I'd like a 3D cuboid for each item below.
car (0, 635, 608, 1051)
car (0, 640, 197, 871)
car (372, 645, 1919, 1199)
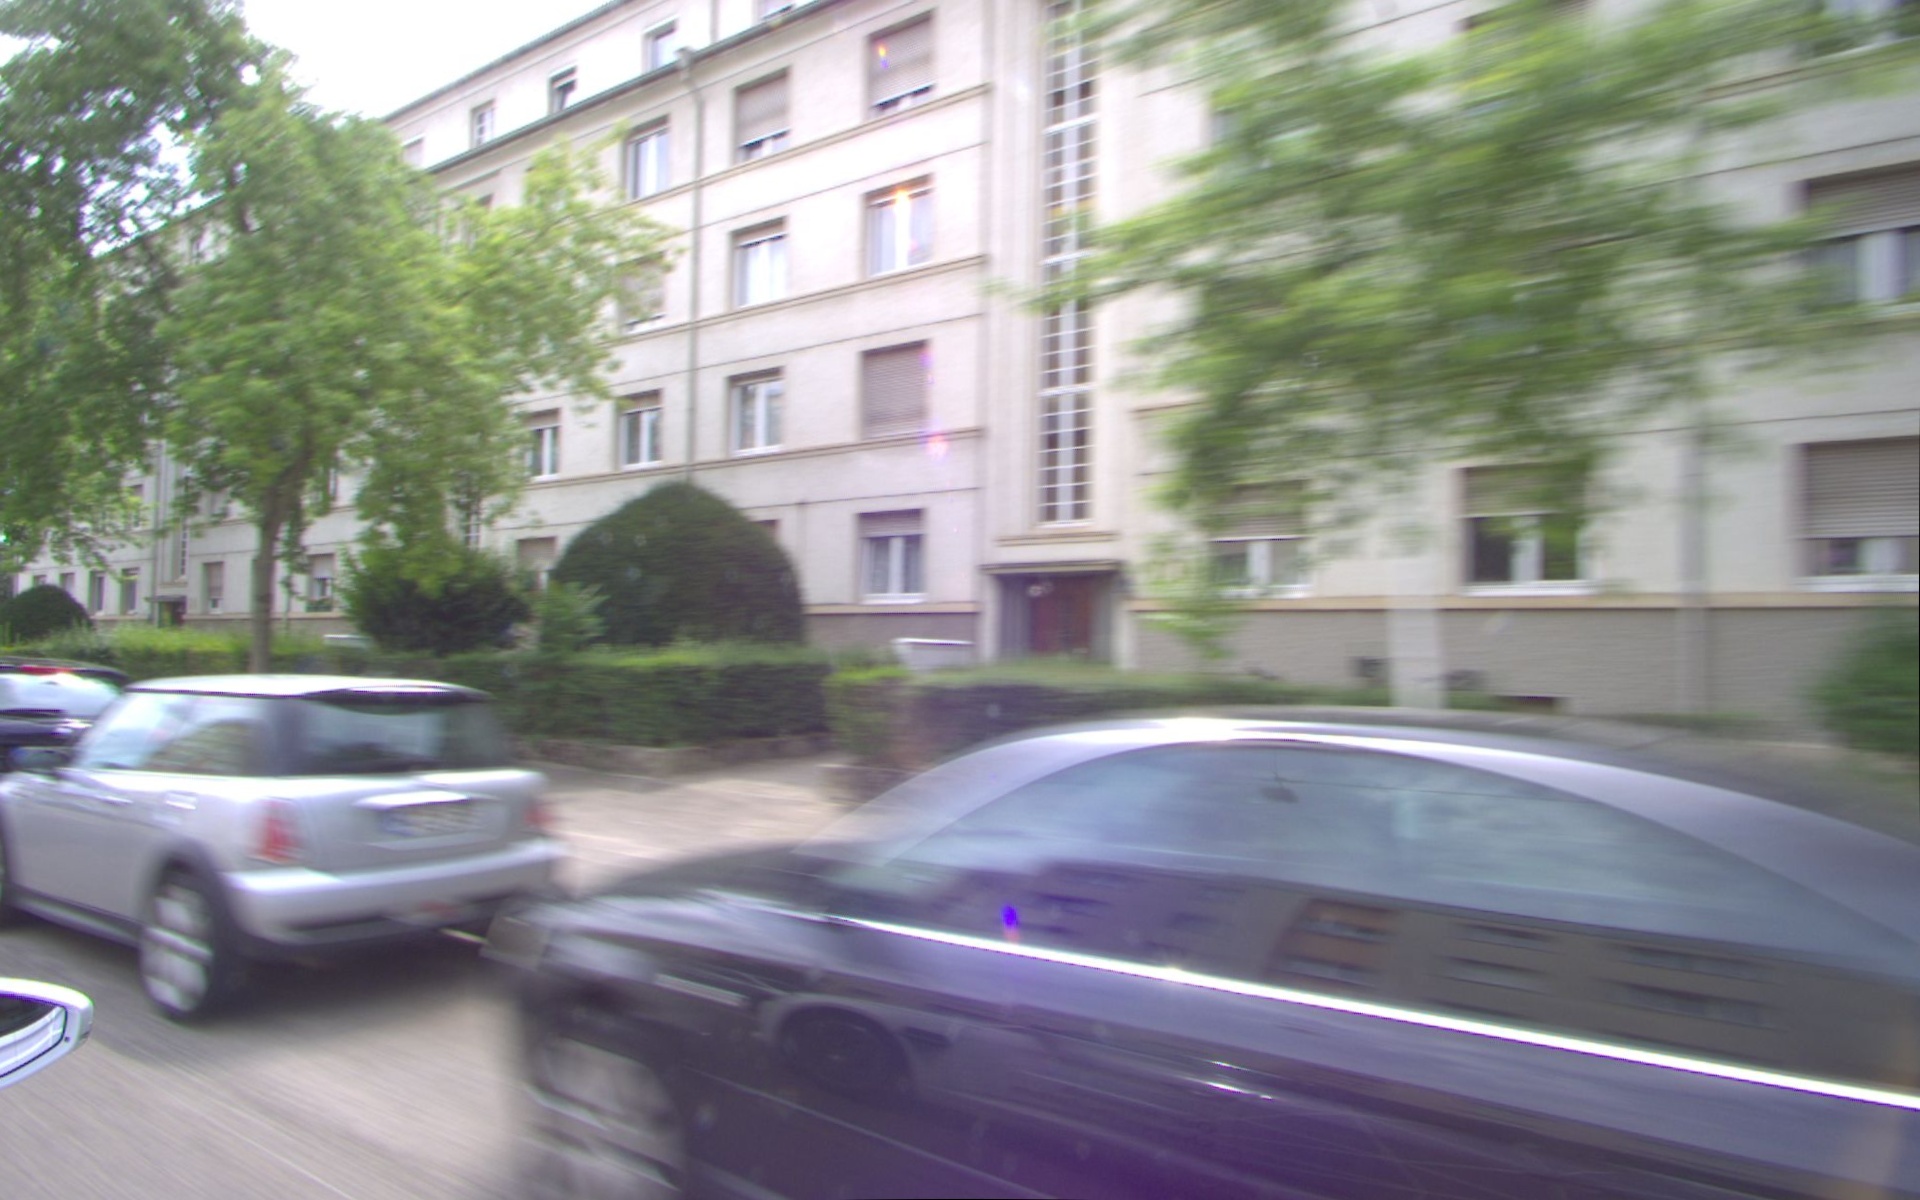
[{"bbox_3d":[-3.857,0.998,5.494,3.671,1.488,1.657,1,-3,32],"label":"car"},{"bbox_3d":[-8.038,1.108,8.110,3.832,1.488,1.657,1,-2,32],"label":"car"},{"bbox_3d":[0.536,0.926,2.581,4.553,1.487,1.777,-1,-5,35],"label":"car"}]
